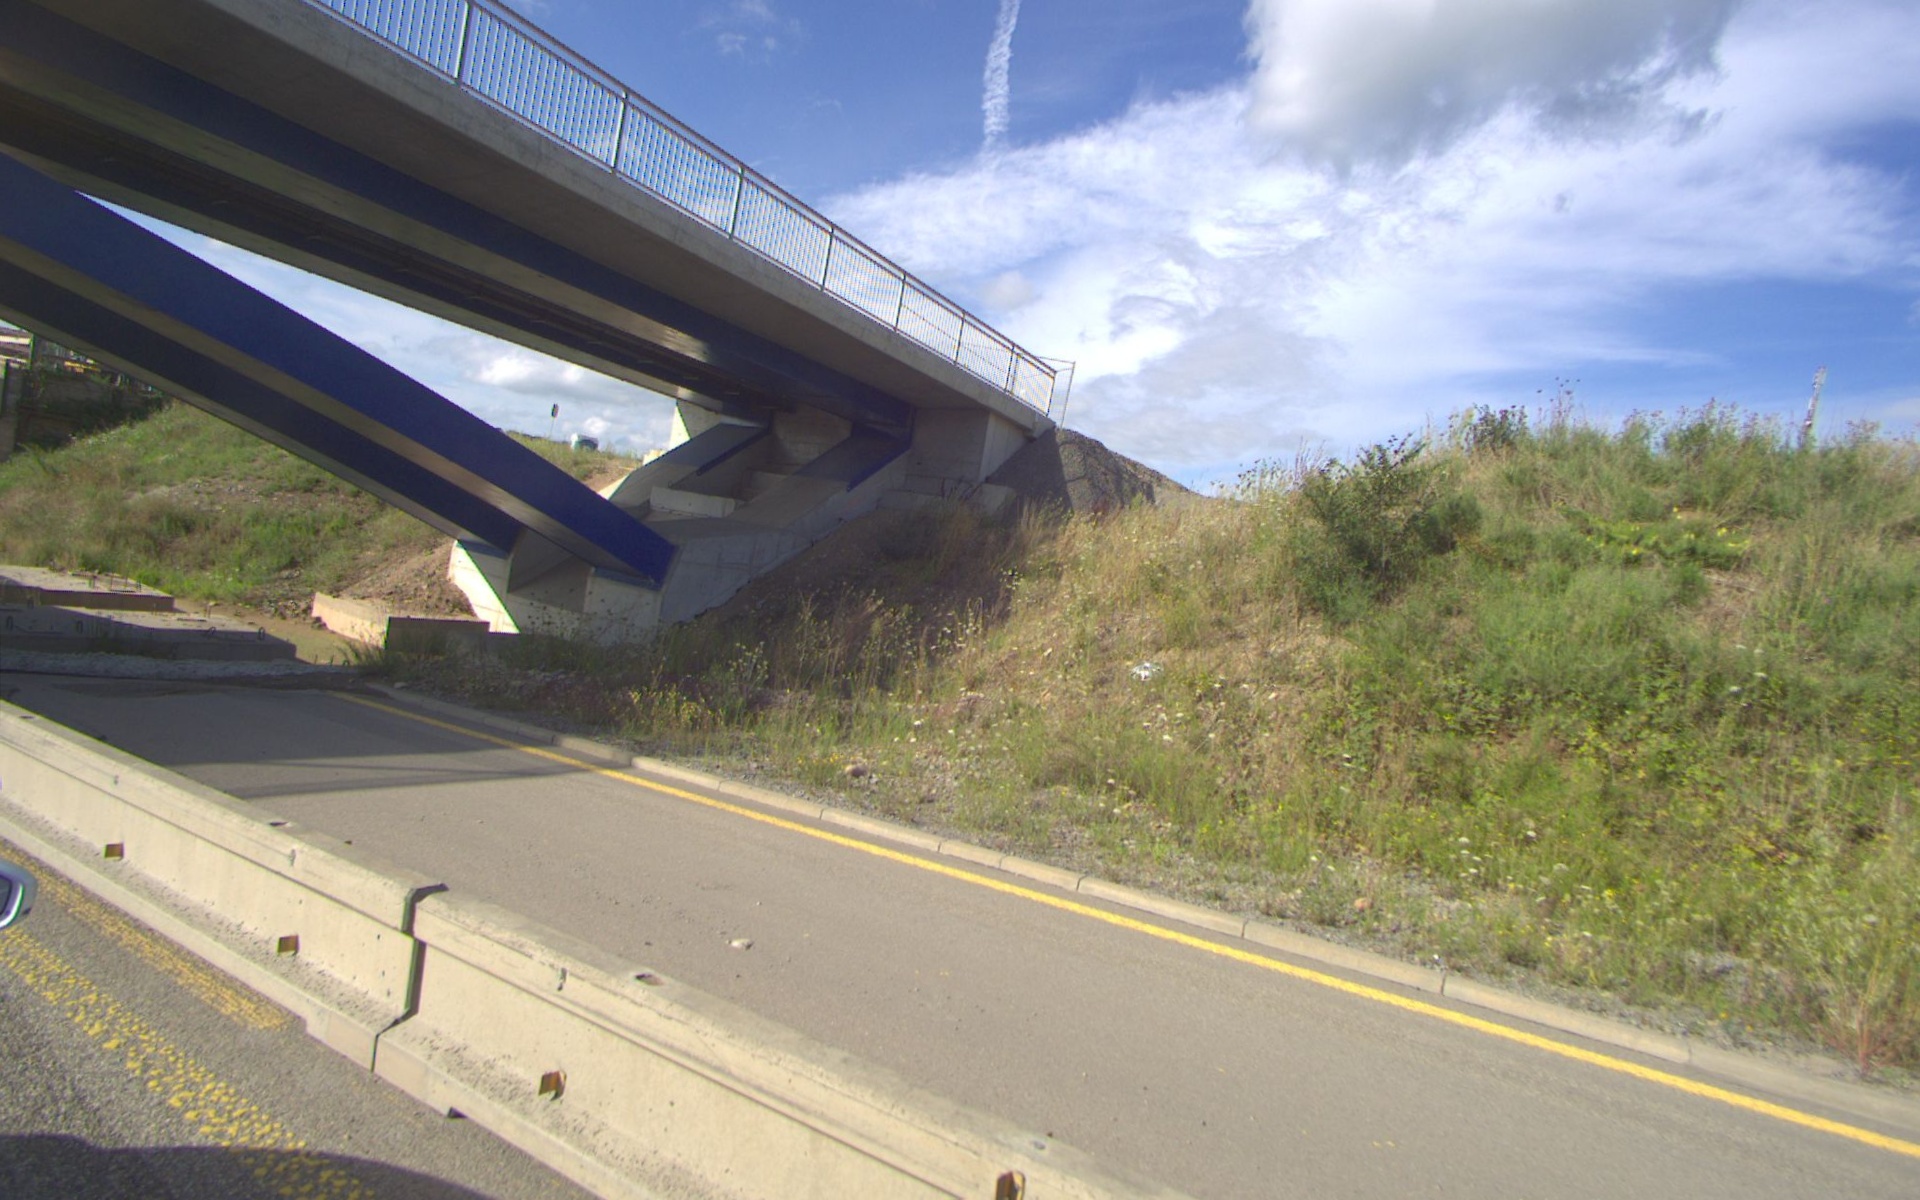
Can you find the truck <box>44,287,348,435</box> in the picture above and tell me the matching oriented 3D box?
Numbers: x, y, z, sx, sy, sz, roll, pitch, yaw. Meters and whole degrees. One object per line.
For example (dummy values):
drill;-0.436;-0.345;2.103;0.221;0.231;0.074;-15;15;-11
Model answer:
truck;-30.740;-9.451;41.133;2.910;3.266;9.279;7;-1;31
